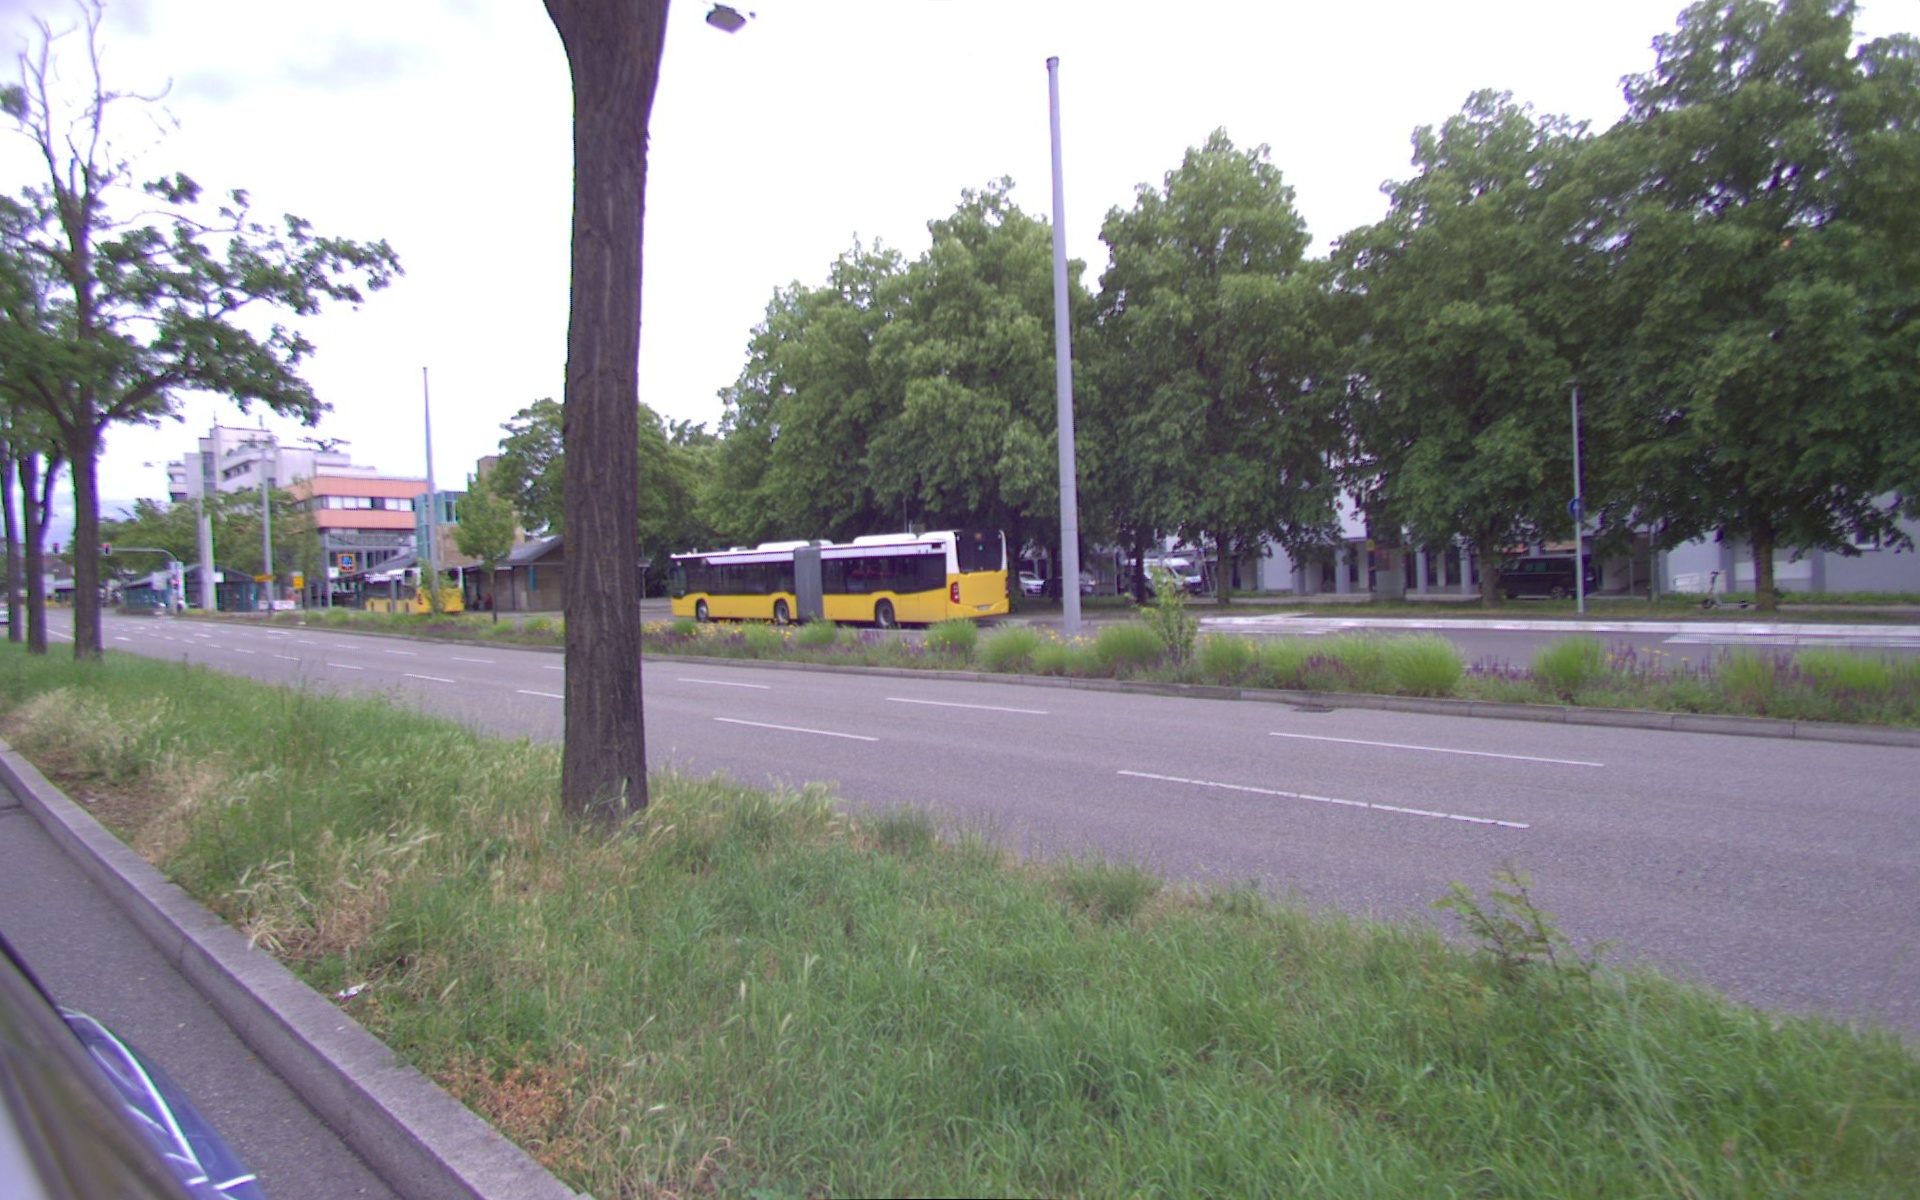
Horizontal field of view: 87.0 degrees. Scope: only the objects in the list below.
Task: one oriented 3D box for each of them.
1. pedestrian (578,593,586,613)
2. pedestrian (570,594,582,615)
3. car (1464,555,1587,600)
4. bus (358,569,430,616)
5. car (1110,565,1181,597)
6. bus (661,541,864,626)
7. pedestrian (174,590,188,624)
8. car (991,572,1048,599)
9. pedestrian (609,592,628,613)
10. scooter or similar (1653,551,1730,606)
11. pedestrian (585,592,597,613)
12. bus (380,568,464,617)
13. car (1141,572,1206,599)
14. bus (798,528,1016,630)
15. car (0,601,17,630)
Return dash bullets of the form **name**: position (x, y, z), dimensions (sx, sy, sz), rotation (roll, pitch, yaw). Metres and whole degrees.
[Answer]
- **pedestrian**: position (-21.718, 0.173, 58.092), dimensions (0.361, 1.175, 0.900), rotation (-1, 1, -23)
- **pedestrian**: position (-22.708, 0.263, 59.883), dimensions (0.589, 1.170, 0.745), rotation (-1, 1, -27)
- **car**: position (24.993, -0.981, 44.864), dimensions (1.758, 1.861, 4.429), rotation (-2, 1, -34)
- **bus**: position (-39.257, -0.507, 70.018), dimensions (2.845, 3.025, 9.193), rotation (-2, 1, -39)
- **car**: position (10.685, -1.067, 58.409), dimensions (1.663, 1.763, 4.010), rotation (-2, 1, -35)
- **bus**: position (-8.209, -0.573, 40.587), dimensions (2.848, 3.025, 10.403), rotation (-2, 1, -43)
- **pedestrian**: position (-65.883, 0.576, 85.574), dimensions (0.889, 2.809, 1.150), rotation (-1, 1, -36)
- **car**: position (4.000, -0.996, 68.683), dimensions (1.663, 1.763, 4.010), rotation (-2, 1, -35)
- **pedestrian**: position (-19.879, 0.138, 58.895), dimensions (0.925, 1.180, 0.641), rotation (0, 1, 42)
- **scooter or similar**: position (22.987, -0.662, 31.837), dimensions (1.840, 1.676, 0.647), rotation (-1, 0, 30)
- **pedestrian**: position (-21.233, 0.123, 58.251), dimensions (0.589, 1.170, 0.745), rotation (-1, 1, -23)
- **bus**: position (-33.717, -0.442, 63.169), dimensions (2.846, 2.830, 9.192), rotation (-2, 1, -39)
- **car**: position (13.604, -0.916, 64.739), dimensions (1.751, 1.652, 4.012), rotation (-2, 0, -31)
- **bus**: position (-1.988, -0.616, 33.952), dimensions (2.848, 3.025, 7.890), rotation (-2, 1, -43)
- **car**: position (-67.812, 1.095, 71.327), dimensions (4.001, 2.029, 1.703), rotation (-1, 1, 44)
